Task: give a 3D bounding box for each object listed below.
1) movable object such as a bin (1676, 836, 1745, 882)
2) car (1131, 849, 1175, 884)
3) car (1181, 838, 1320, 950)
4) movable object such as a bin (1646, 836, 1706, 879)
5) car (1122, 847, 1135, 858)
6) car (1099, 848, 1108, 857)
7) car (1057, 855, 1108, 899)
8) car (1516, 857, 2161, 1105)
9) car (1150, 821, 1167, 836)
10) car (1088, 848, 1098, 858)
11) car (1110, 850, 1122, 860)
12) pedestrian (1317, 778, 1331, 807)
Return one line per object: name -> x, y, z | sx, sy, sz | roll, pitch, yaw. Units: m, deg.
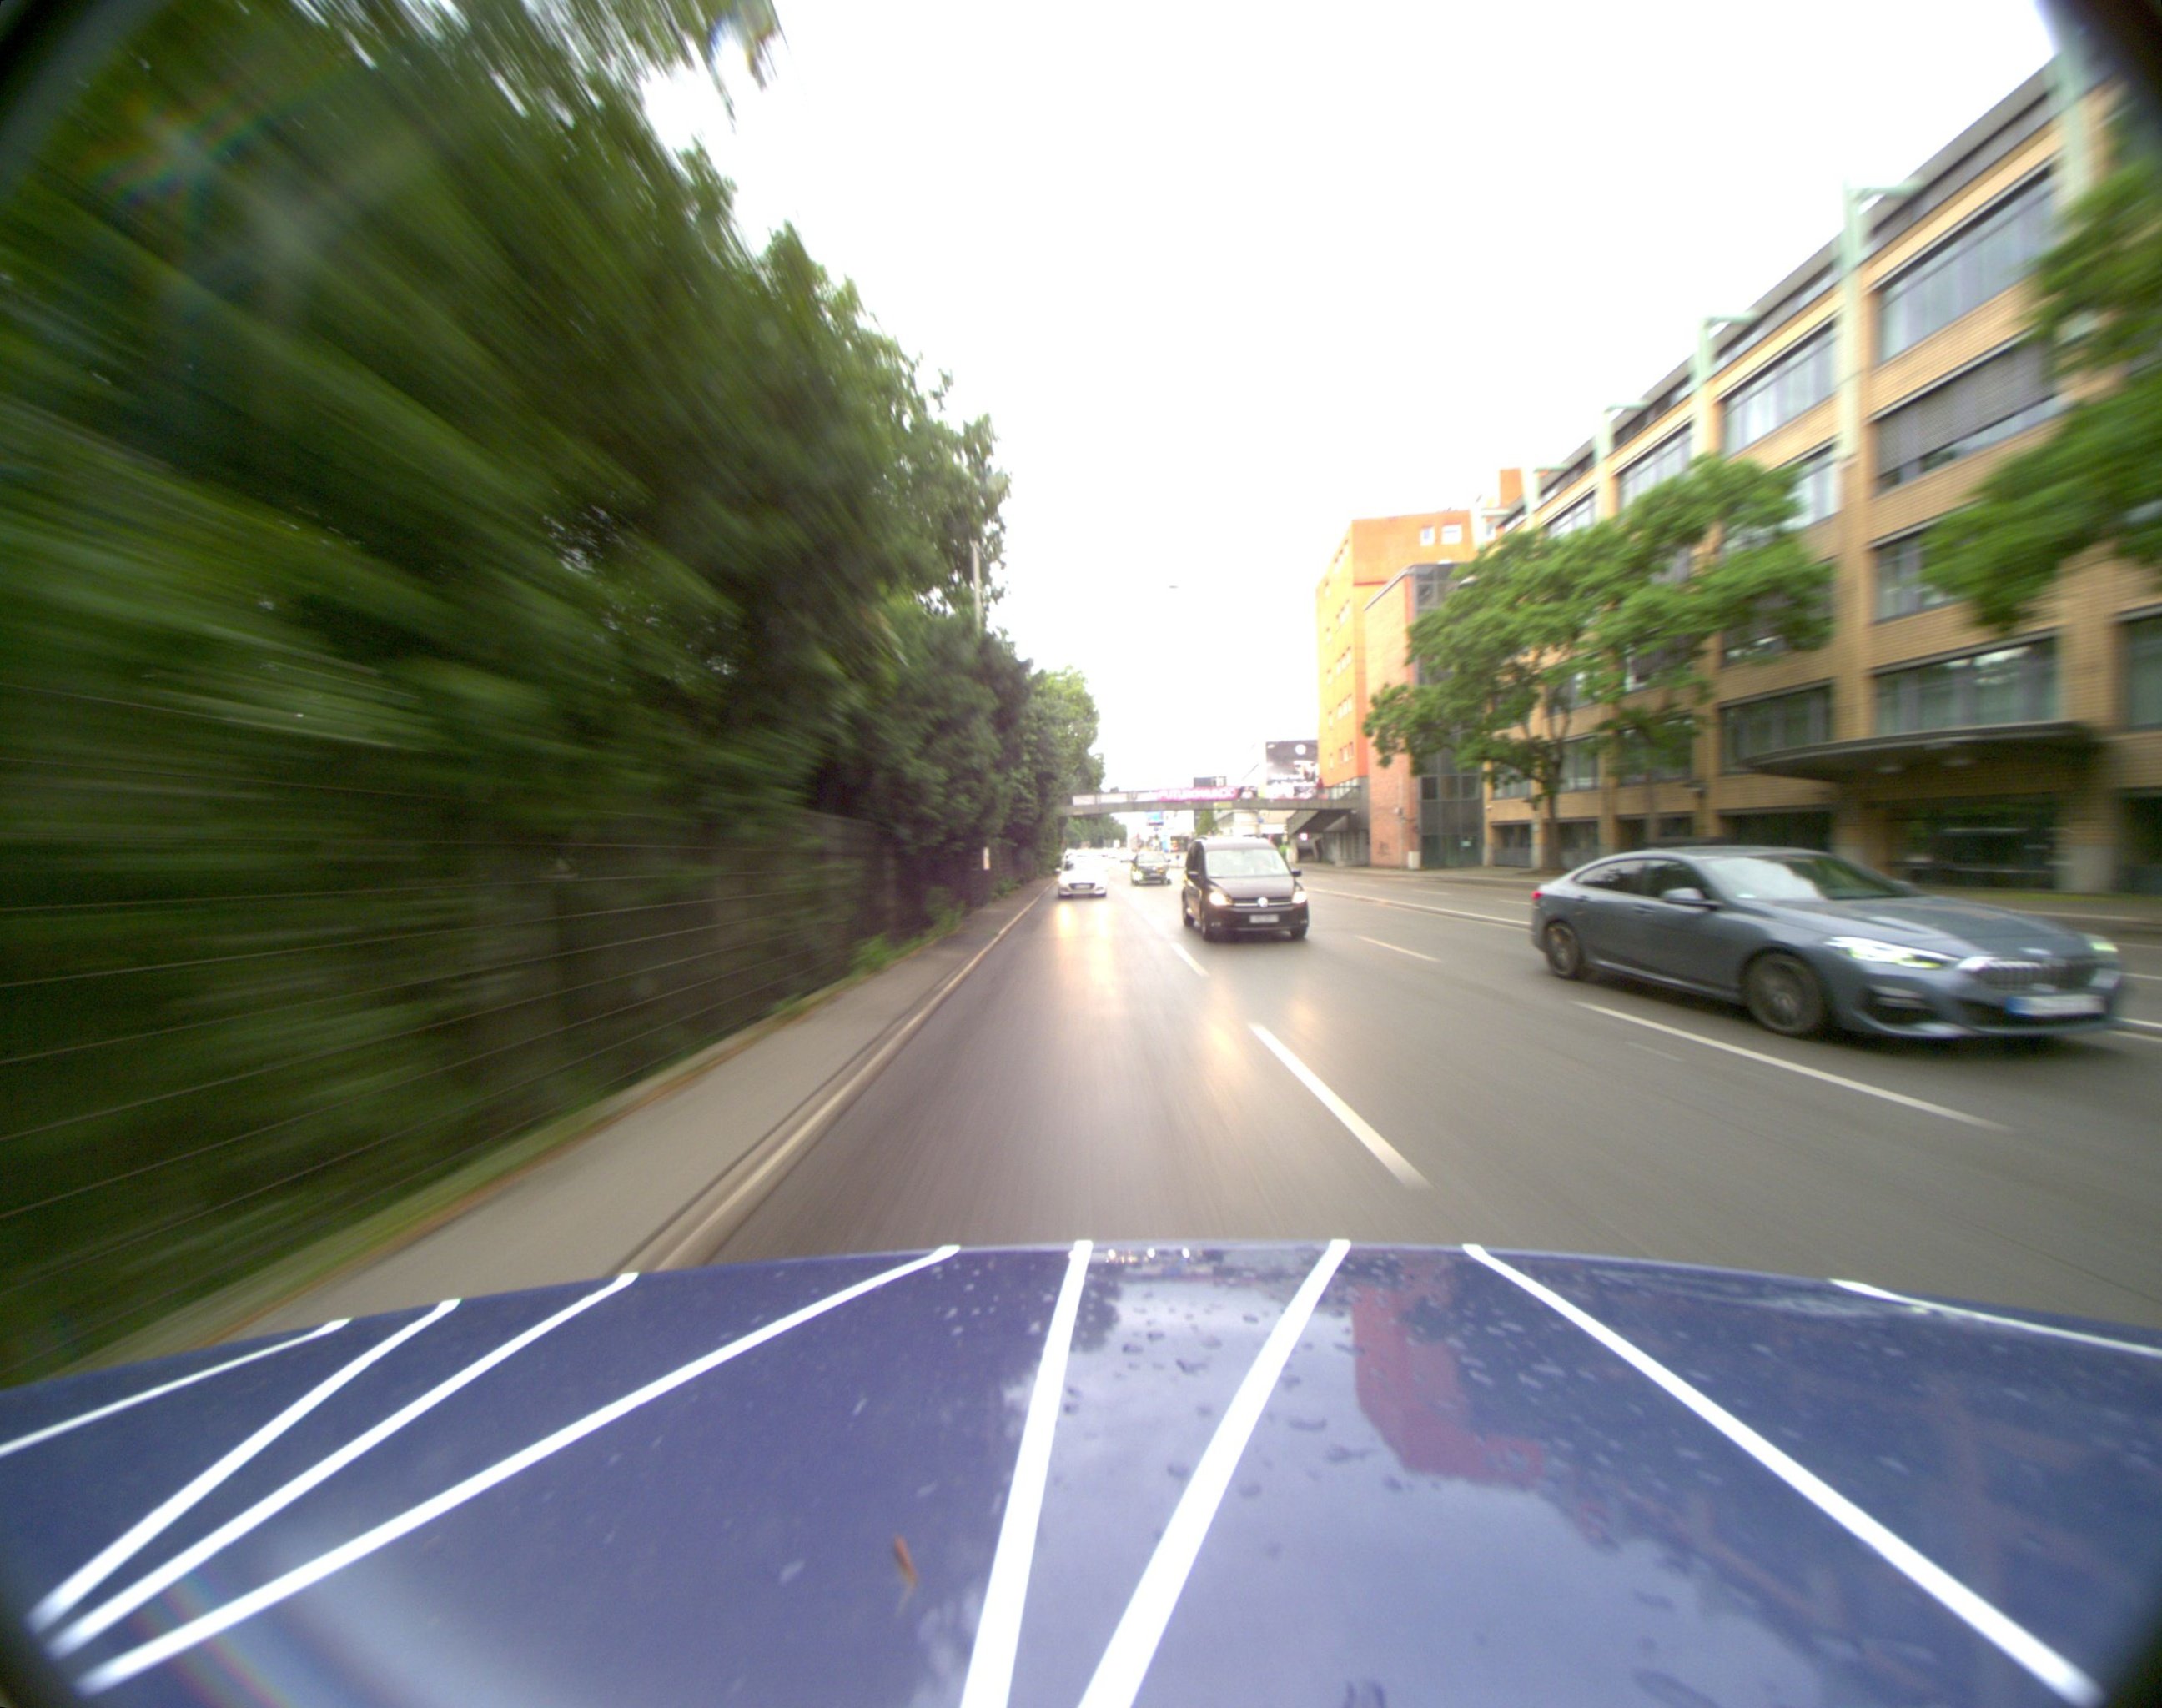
movable object such as a bin -> 20.907, 0.166, 25.277 | 1.071, 1.428, 1.372 | -3, 1, -4
car -> 3.534, 0.580, 37.986 | 1.731, 1.604, 3.999 | -2, 1, 0
car -> 2.953, 0.637, 14.086 | 1.842, 1.780, 4.001 | 0, 0, 3
movable object such as a bin -> 20.833, 0.111, 26.629 | 0.975, 1.428, 1.313 | -3, 1, -4
car -> 6.762, -0.213, 107.692 | 1.730, 1.502, 3.732 | -2, 1, 5
car -> 5.367, -0.338, 179.830 | 1.878, 1.762, 3.999 | -3, 1, 1
car -> 0.063, 0.808, 28.741 | 1.731, 1.431, 3.999 | -2, 1, 0
car -> 6.029, 0.781, 6.850 | 1.669, 1.407, 4.539 | -1, 1, 1
car -> 8.996, -2.942, 88.002 | 1.823, 1.602, 4.001 | -3, 1, 6
car -> 2.498, -0.252, 152.735 | 1.878, 1.762, 3.999 | -3, 1, 1
car -> 6.412, 0.179, 139.188 | 1.878, 1.762, 3.999 | -3, 1, 1
pedestrian -> 18.955, -4.781, 59.214 | 0.833, 2.242, 0.738 | -1, 2, -5
